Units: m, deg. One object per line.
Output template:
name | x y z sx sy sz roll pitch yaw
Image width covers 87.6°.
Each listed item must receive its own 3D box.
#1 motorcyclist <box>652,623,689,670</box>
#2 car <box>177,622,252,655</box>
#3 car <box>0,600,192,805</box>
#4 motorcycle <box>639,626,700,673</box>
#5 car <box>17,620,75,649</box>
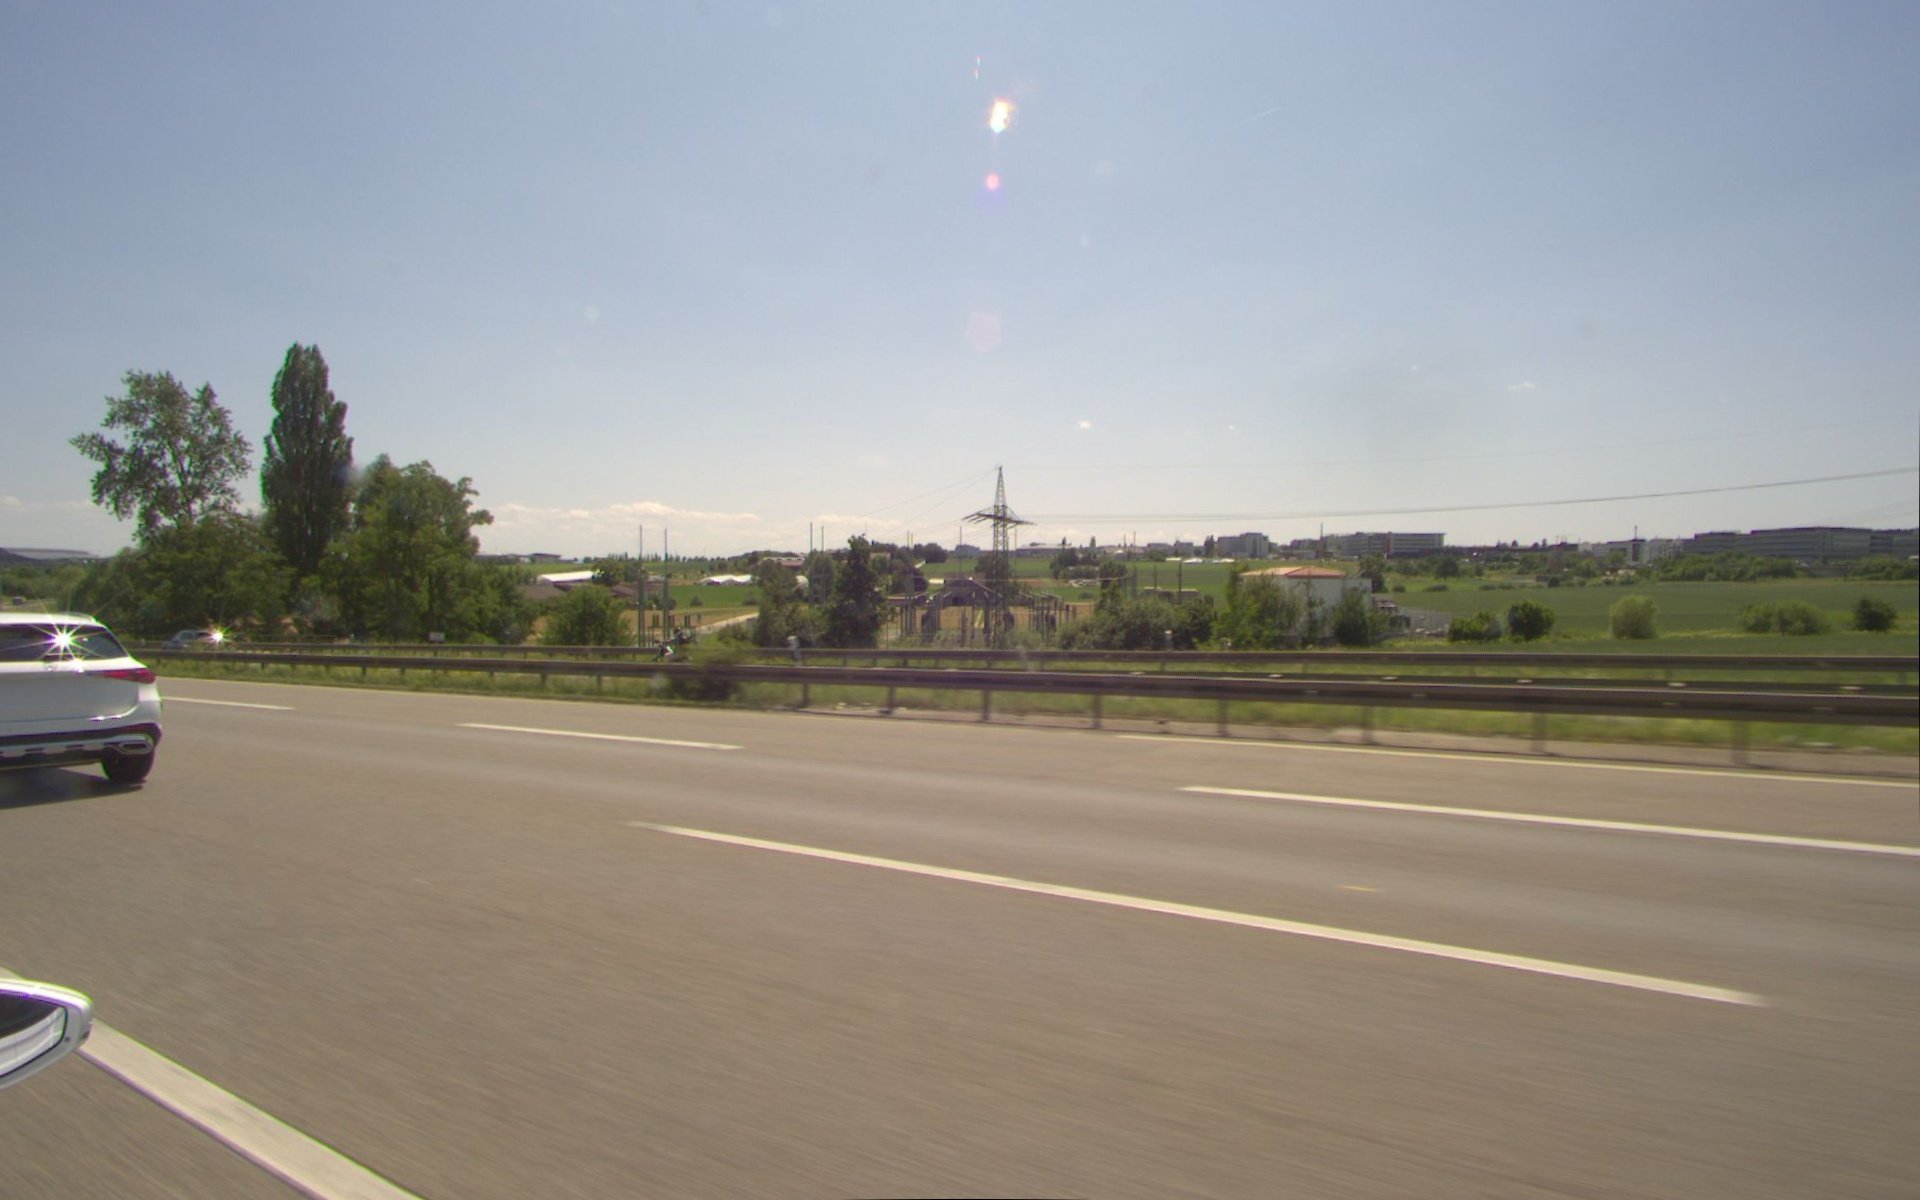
motorcyclist | -8.710 1.389 30.126 0.866 1.384 0.667 -1 -1 32
car | -37.209 1.916 49.973 4.070 1.595 1.696 -1 -1 33
car | -9.679 0.887 9.834 4.929 1.668 1.894 -1 -1 33
motorcycle | -8.769 1.465 30.176 1.843 1.384 0.758 -1 -1 33
car | -62.635 2.331 68.610 4.121 1.948 1.935 -1 -1 33
